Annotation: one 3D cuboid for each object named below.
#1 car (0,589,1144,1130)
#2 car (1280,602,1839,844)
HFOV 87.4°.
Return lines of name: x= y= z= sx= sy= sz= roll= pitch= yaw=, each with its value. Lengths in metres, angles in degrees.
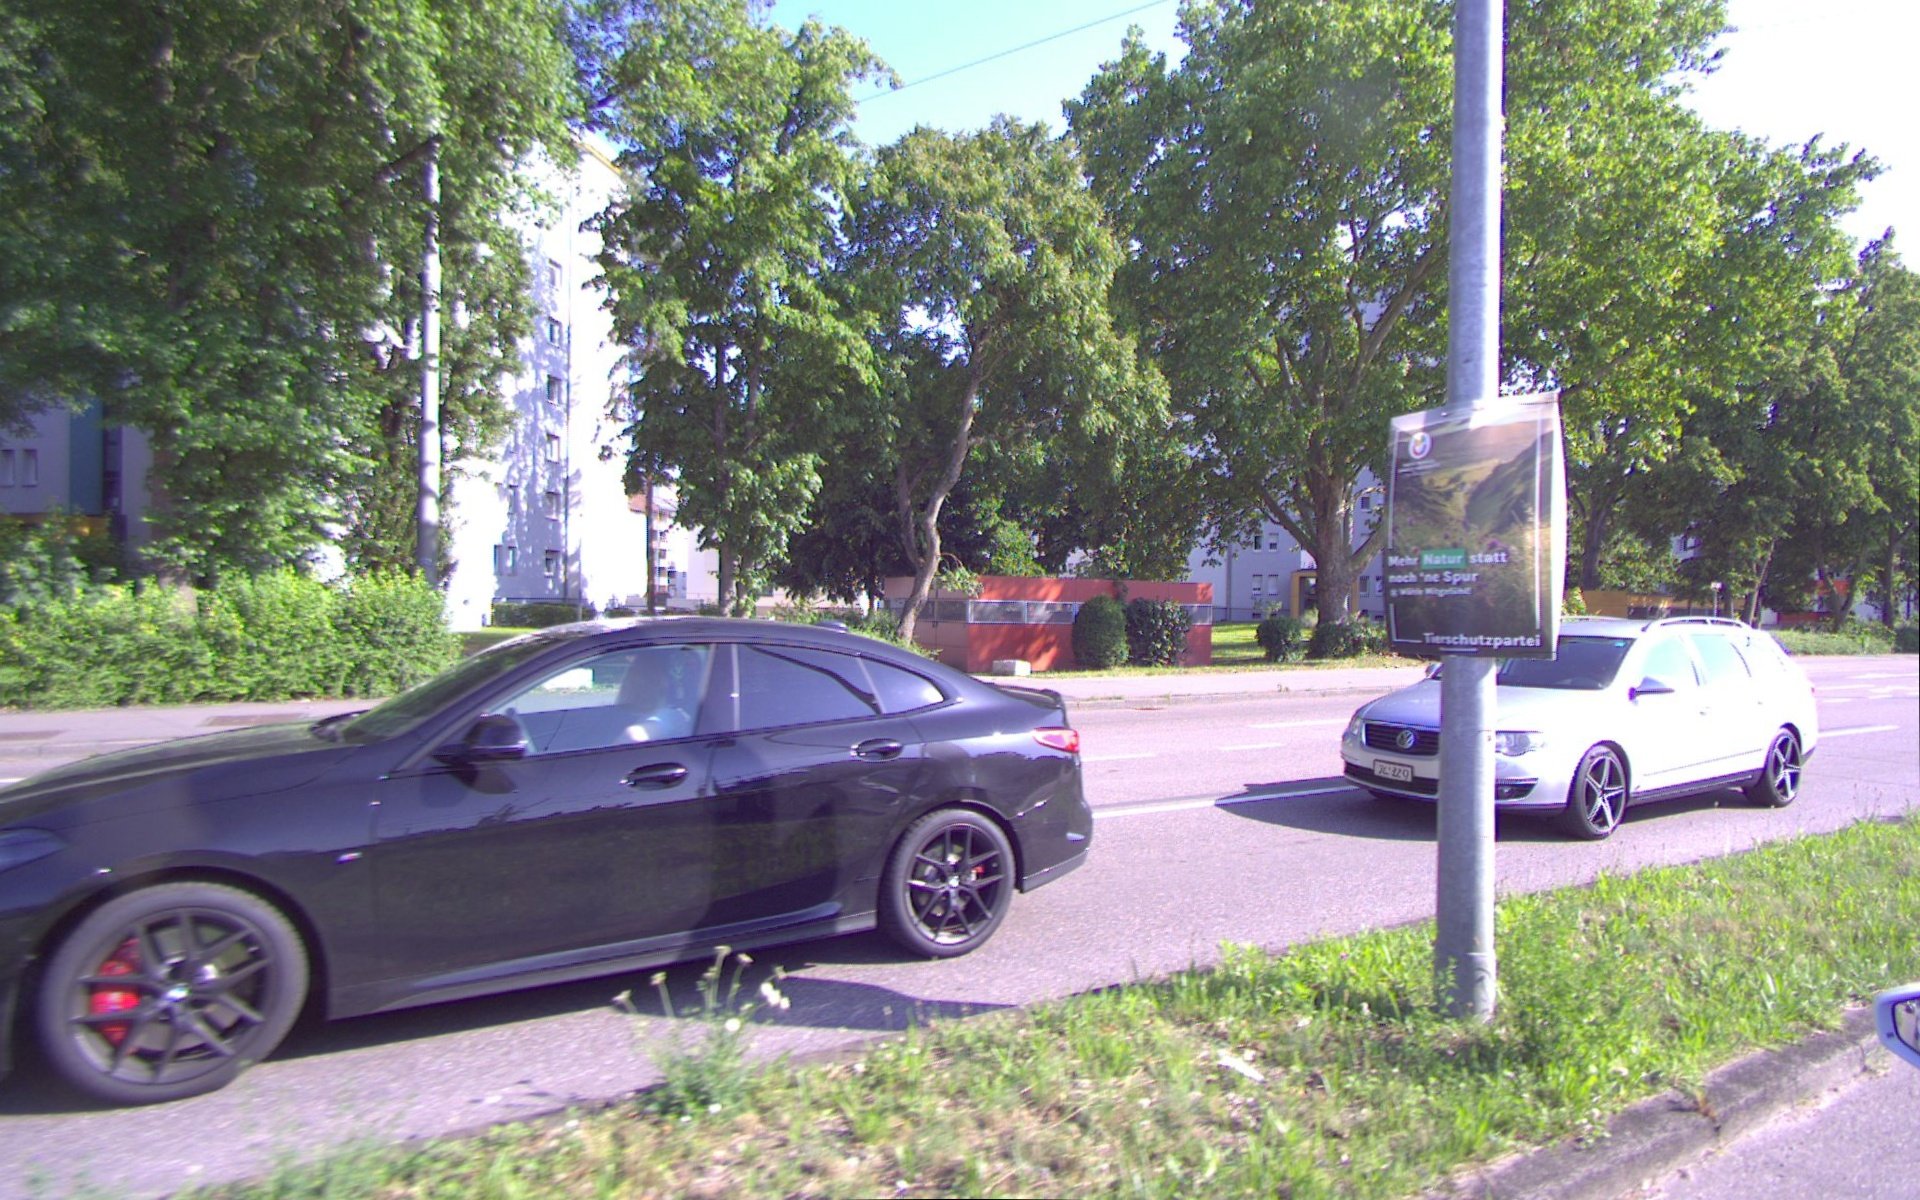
car: x=-1.464 y=0.732 z=4.389 sx=4.328 sy=1.454 sz=1.821 roll=1 pitch=-1 yaw=-29
car: x=4.937 y=0.802 z=8.140 sx=4.588 sy=1.497 sz=1.841 roll=1 pitch=-1 yaw=-29
